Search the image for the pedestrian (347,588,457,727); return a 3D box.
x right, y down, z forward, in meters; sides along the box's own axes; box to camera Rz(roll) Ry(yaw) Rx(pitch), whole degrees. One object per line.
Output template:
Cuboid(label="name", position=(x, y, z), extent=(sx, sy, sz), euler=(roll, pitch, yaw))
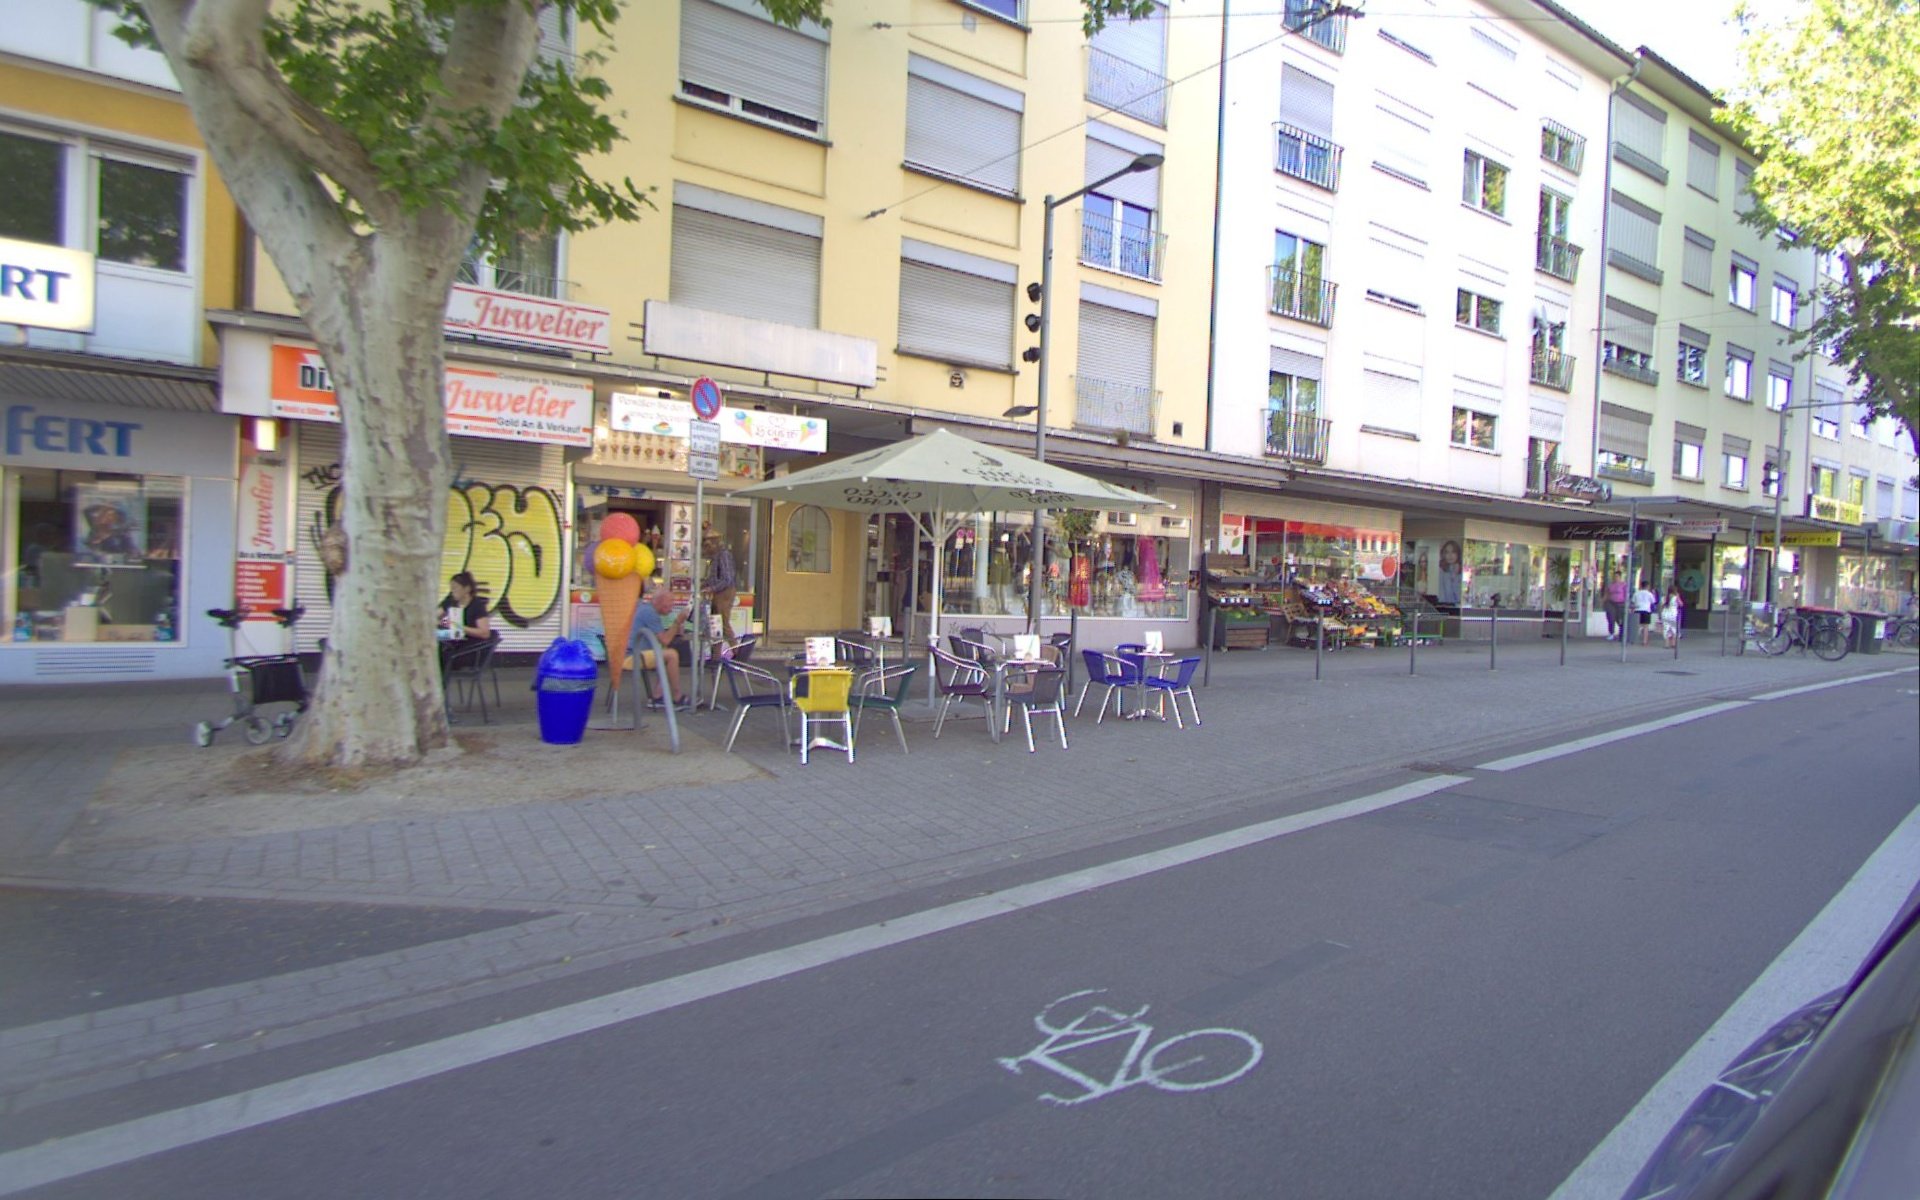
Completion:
Cuboid(label="pedestrian", position=(-4.789, 0.468, 8.689), extent=(0.737, 1.129, 0.584), euler=(0, 0, -40))

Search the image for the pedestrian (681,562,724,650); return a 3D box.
Cuboid(label="pedestrian", position=(-3.929, 0.089, 15.450), extent=(0.498, 1.312, 0.427), euler=(0, 2, -36))

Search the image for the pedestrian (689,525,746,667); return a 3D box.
Cuboid(label="pedestrian", position=(-3.181, -0.061, 13.329), extent=(0.614, 1.826, 0.638), euler=(1, 1, -4))

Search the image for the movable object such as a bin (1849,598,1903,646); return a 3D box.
Cuboid(label="movable object such as a bin", position=(22.926, 0.545, 25.330), extent=(0.631, 1.115, 0.726), euler=(0, 5, -26))

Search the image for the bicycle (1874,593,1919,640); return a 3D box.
Cuboid(label="bicycle", position=(25.119, 0.441, 26.415), extent=(0.731, 1.130, 1.725), euler=(-4, 4, -32))

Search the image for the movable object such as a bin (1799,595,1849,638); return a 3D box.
Cuboid(label="movable object such as a bin", position=(22.846, 0.434, 26.773), extent=(0.630, 1.085, 0.726), euler=(1, 3, -15))

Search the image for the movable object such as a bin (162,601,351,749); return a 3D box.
Cuboid(label="movable object such as a bin", position=(-5.341, 0.529, 7.712), extent=(0.919, 1.036, 0.833), euler=(0, 0, 23))

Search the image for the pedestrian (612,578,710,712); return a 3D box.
Cuboid(label="pedestrian", position=(-2.934, 0.411, 9.921), extent=(0.732, 1.240, 0.607), euler=(0, 1, -40))

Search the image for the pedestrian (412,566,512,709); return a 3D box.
Cuboid(label="pedestrian", position=(-4.732, 0.336, 9.619), extent=(0.745, 1.291, 0.584), euler=(0, 0, -40))

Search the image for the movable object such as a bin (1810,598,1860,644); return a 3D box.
Cuboid(label="movable object such as a bin", position=(22.471, 0.530, 26.000), extent=(0.632, 1.084, 0.725), euler=(0, 7, -35))

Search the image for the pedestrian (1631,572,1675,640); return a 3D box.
Cuboid(label="pedestrian", position=(17.032, 0.139, 24.878), extent=(0.615, 1.605, 0.624), euler=(0, 4, -34))

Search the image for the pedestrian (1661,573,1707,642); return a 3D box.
Cuboid(label="pedestrian", position=(17.439, 0.177, 24.366), extent=(0.615, 1.605, 0.638), euler=(0, 4, -34))

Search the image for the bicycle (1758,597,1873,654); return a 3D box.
Cuboid(label="bicycle", position=(19.683, 0.565, 23.330), extent=(0.507, 1.118, 1.918), euler=(1, 4, -27))

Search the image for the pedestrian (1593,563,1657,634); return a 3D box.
Cuboid(label="pedestrian", position=(17.532, -0.056, 26.686), extent=(1.111, 1.784, 0.972), euler=(-1, 3, -32))

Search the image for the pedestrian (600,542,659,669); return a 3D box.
Cuboid(label="pedestrian", position=(-4.236, 0.062, 12.990), extent=(0.624, 1.564, 0.628), euler=(1, 5, -9))

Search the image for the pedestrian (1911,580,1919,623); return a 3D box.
Cuboid(label="pedestrian", position=(34.296, 0.062, 35.910), extent=(0.878, 1.520, 0.543), euler=(1, 3, -33))
